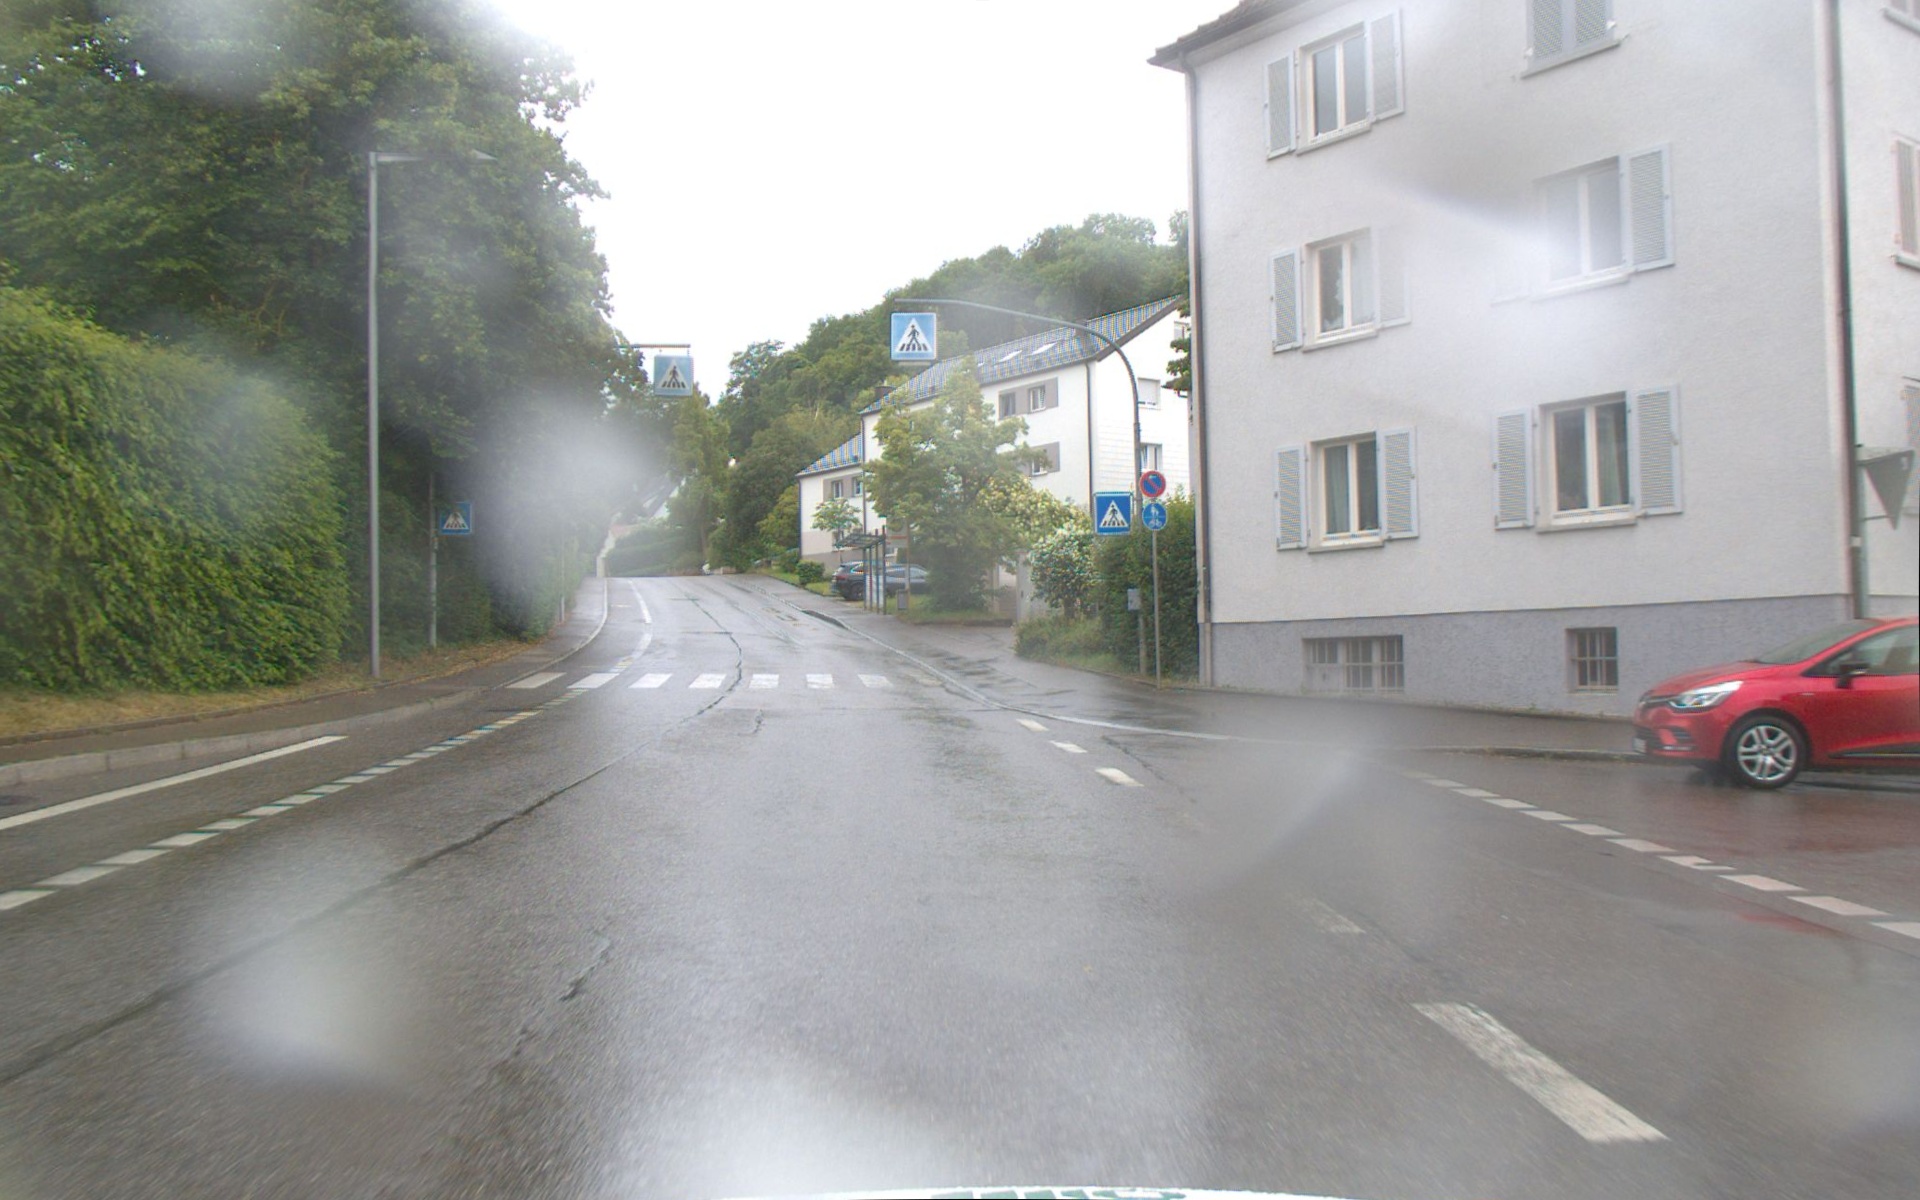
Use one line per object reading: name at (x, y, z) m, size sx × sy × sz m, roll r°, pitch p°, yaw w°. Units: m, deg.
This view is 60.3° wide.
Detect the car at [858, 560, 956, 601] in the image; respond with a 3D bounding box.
car at (-2.165, -0.789, 66.904) m, size 3.680 × 1.483 × 1.719 m, roll -2°, pitch 3°, yaw -14°

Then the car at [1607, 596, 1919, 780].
car at (7.880, 0.733, 14.256) m, size 3.993 × 1.432 × 1.726 m, roll 1°, pitch 1°, yaw 10°

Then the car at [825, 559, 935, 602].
car at (-3.489, -0.875, 71.886) m, size 4.457 × 1.689 × 1.846 m, roll -2°, pitch 3°, yaw -19°
